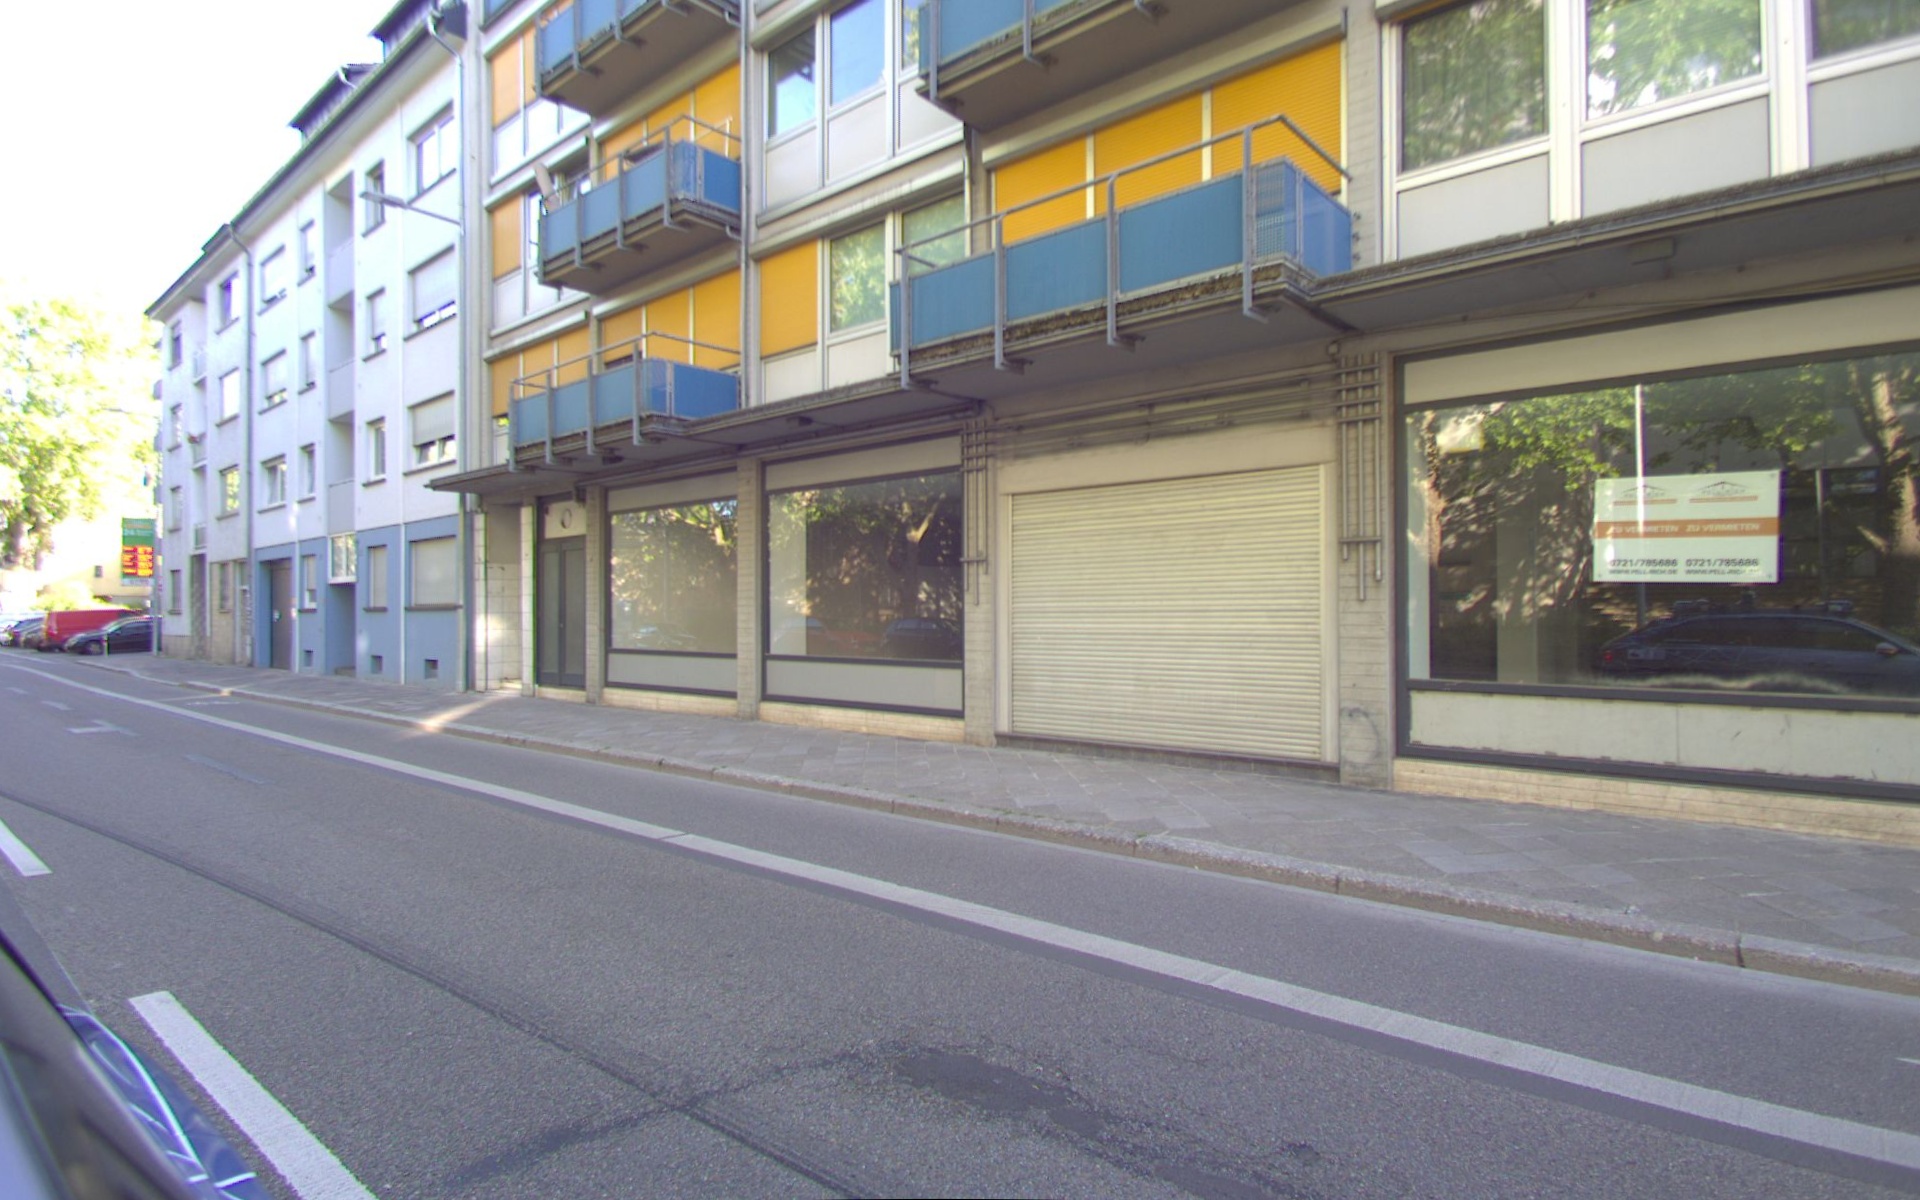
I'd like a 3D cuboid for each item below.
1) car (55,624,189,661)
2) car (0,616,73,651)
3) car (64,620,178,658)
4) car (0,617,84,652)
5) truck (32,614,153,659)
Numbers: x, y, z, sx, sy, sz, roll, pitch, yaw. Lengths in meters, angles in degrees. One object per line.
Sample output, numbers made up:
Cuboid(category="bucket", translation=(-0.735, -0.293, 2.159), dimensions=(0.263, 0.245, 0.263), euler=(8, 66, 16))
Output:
Cuboid(category="car", translation=(-36.489, 1.802, 44.148), dimensions=(1.657, 1.417, 4.269), euler=(-1, 0, 40))
Cuboid(category="car", translation=(-59.337, 2.104, 64.390), dimensions=(2.000, 2.052, 4.180), euler=(-1, 0, 43))
Cuboid(category="car", translation=(-38.039, 1.739, 45.931), dimensions=(1.657, 1.583, 3.762), euler=(-1, 0, 41))
Cuboid(category="car", translation=(-56.054, 2.075, 61.460), dimensions=(2.000, 1.971, 4.180), euler=(-1, 0, 43))
Cuboid(category="truck", translation=(-40.714, 1.657, 47.561), dimensions=(1.999, 1.939, 4.040), euler=(-1, 0, 40))
